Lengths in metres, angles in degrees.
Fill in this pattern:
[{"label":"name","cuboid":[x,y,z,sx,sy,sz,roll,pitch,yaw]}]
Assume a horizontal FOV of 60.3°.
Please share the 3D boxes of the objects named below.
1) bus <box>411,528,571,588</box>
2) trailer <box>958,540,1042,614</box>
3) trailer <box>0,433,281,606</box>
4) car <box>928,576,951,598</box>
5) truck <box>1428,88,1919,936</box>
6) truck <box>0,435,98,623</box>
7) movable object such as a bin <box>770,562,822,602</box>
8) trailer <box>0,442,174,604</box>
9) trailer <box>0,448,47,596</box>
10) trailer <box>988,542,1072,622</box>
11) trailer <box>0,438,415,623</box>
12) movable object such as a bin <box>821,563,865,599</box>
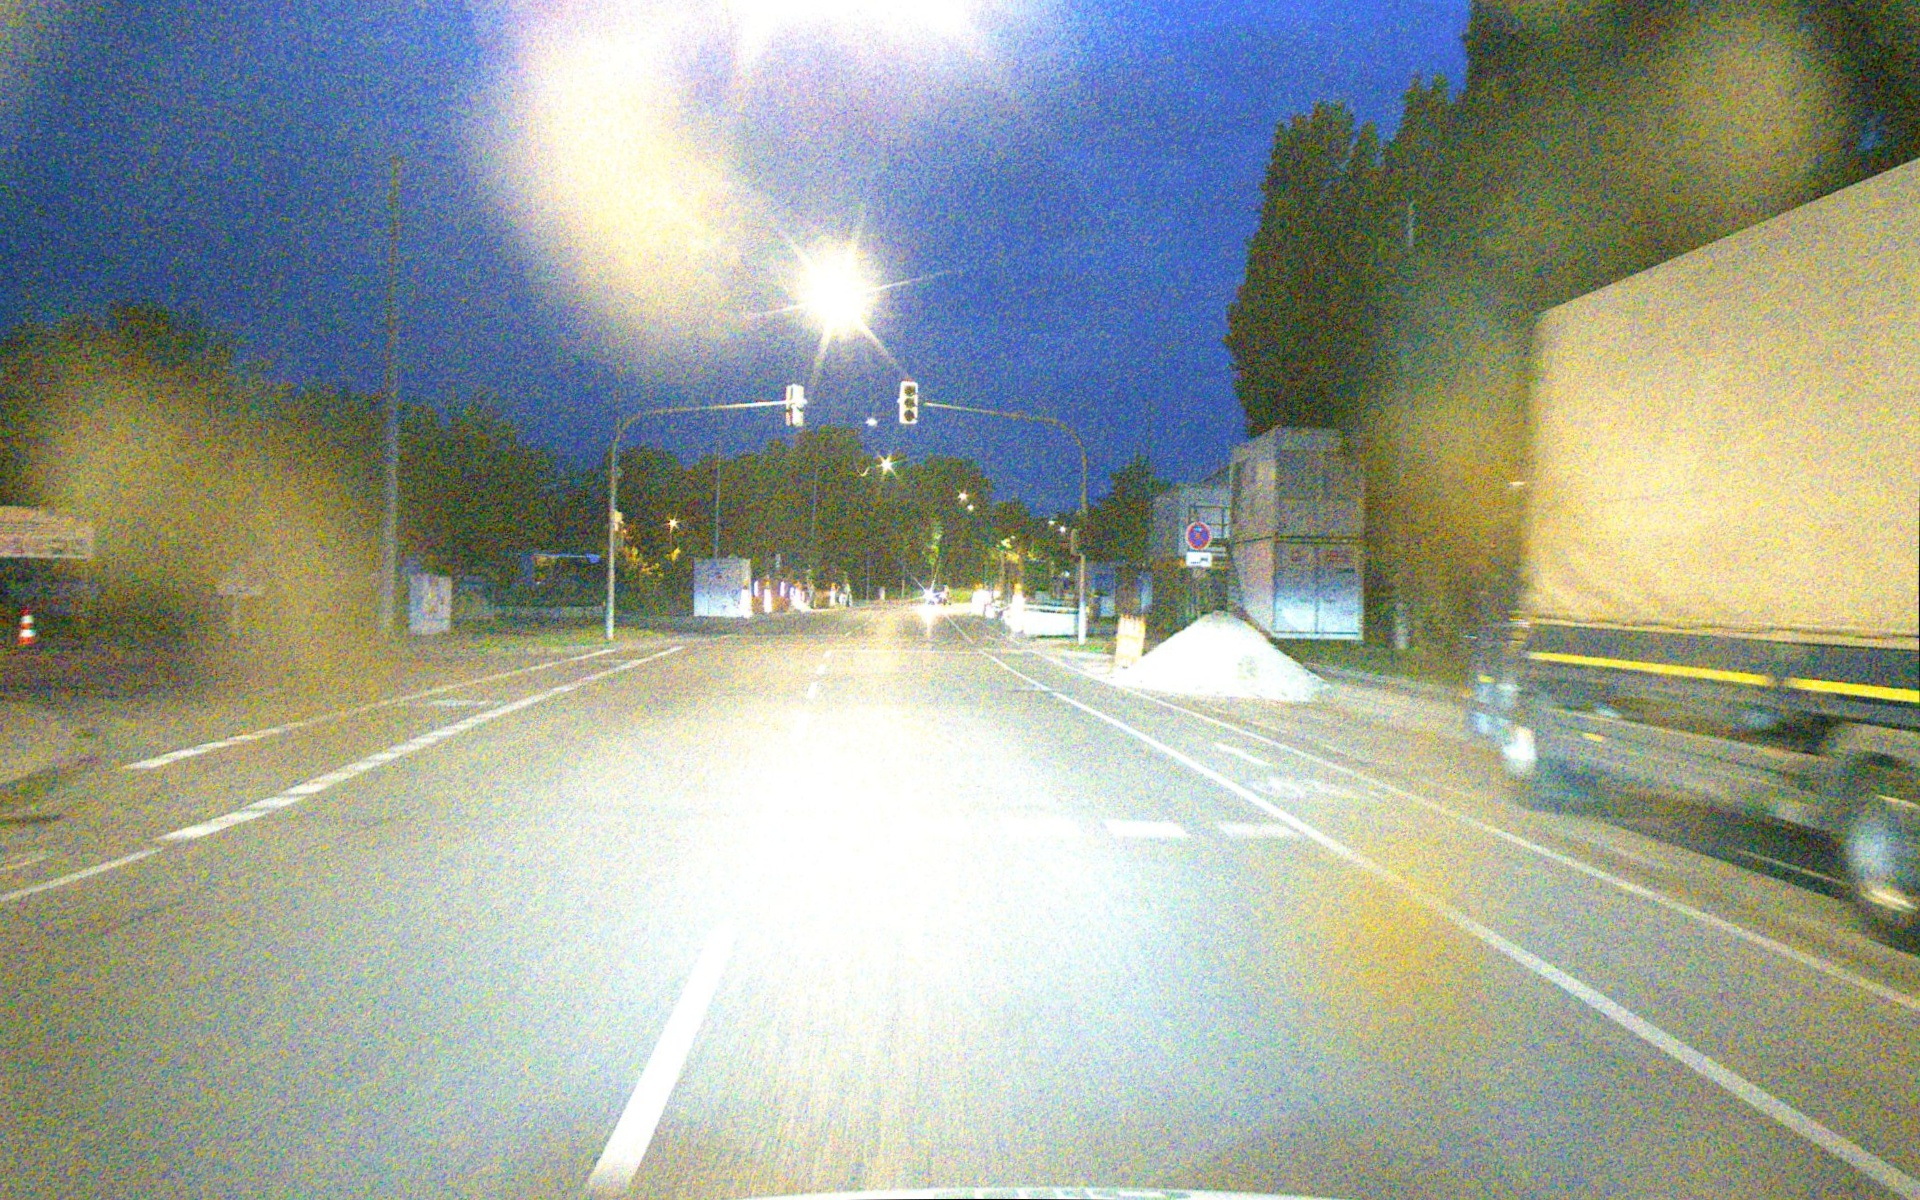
[{"label":"bus","cuboid":[-27.484,-2.414,97.914,2.949,3.260,12.682,1,1,15]},{"label":"trailer","cuboid":[1.866,-1.069,79.680,3.414,3.275,4.859,3,0,-5]},{"label":"trailer","cuboid":[-24.433,-2.057,43.098,2.995,4.220,15.005,3,1,20]},{"label":"car","cuboid":[-1.613,-1.028,127.515,1.662,1.604,2.956,-1,1,-2]},{"label":"truck","cuboid":[5.633,-0.399,9.333,2.700,3.849,10.221,1,0,-2]},{"label":"truck","cuboid":[-21.753,-1.581,35.975,2.993,4.001,4.507,3,0,13]},{"label":"movable object such as a bin","cuboid":[-10.058,-1.148,101.845,1.951,2.417,4.707,0,1,10]},{"label":"trailer","cuboid":[-28.161,-2.186,44.434,2.995,4.433,15.008,3,1,19]},{"label":"trailer","cuboid":[-32.143,-2.450,44.570,2.994,4.433,15.008,3,1,18]},{"label":"trailer","cuboid":[2.688,-0.687,64.829,2.563,2.895,4.704,3,0,-5]},{"label":"trailer","cuboid":[-19.930,-1.573,43.635,2.993,4.001,15.015,3,1,13]},{"label":"movable object such as a bin","cuboid":[-8.048,-1.308,114.428,1.951,2.418,4.706,0,0,10]}]
